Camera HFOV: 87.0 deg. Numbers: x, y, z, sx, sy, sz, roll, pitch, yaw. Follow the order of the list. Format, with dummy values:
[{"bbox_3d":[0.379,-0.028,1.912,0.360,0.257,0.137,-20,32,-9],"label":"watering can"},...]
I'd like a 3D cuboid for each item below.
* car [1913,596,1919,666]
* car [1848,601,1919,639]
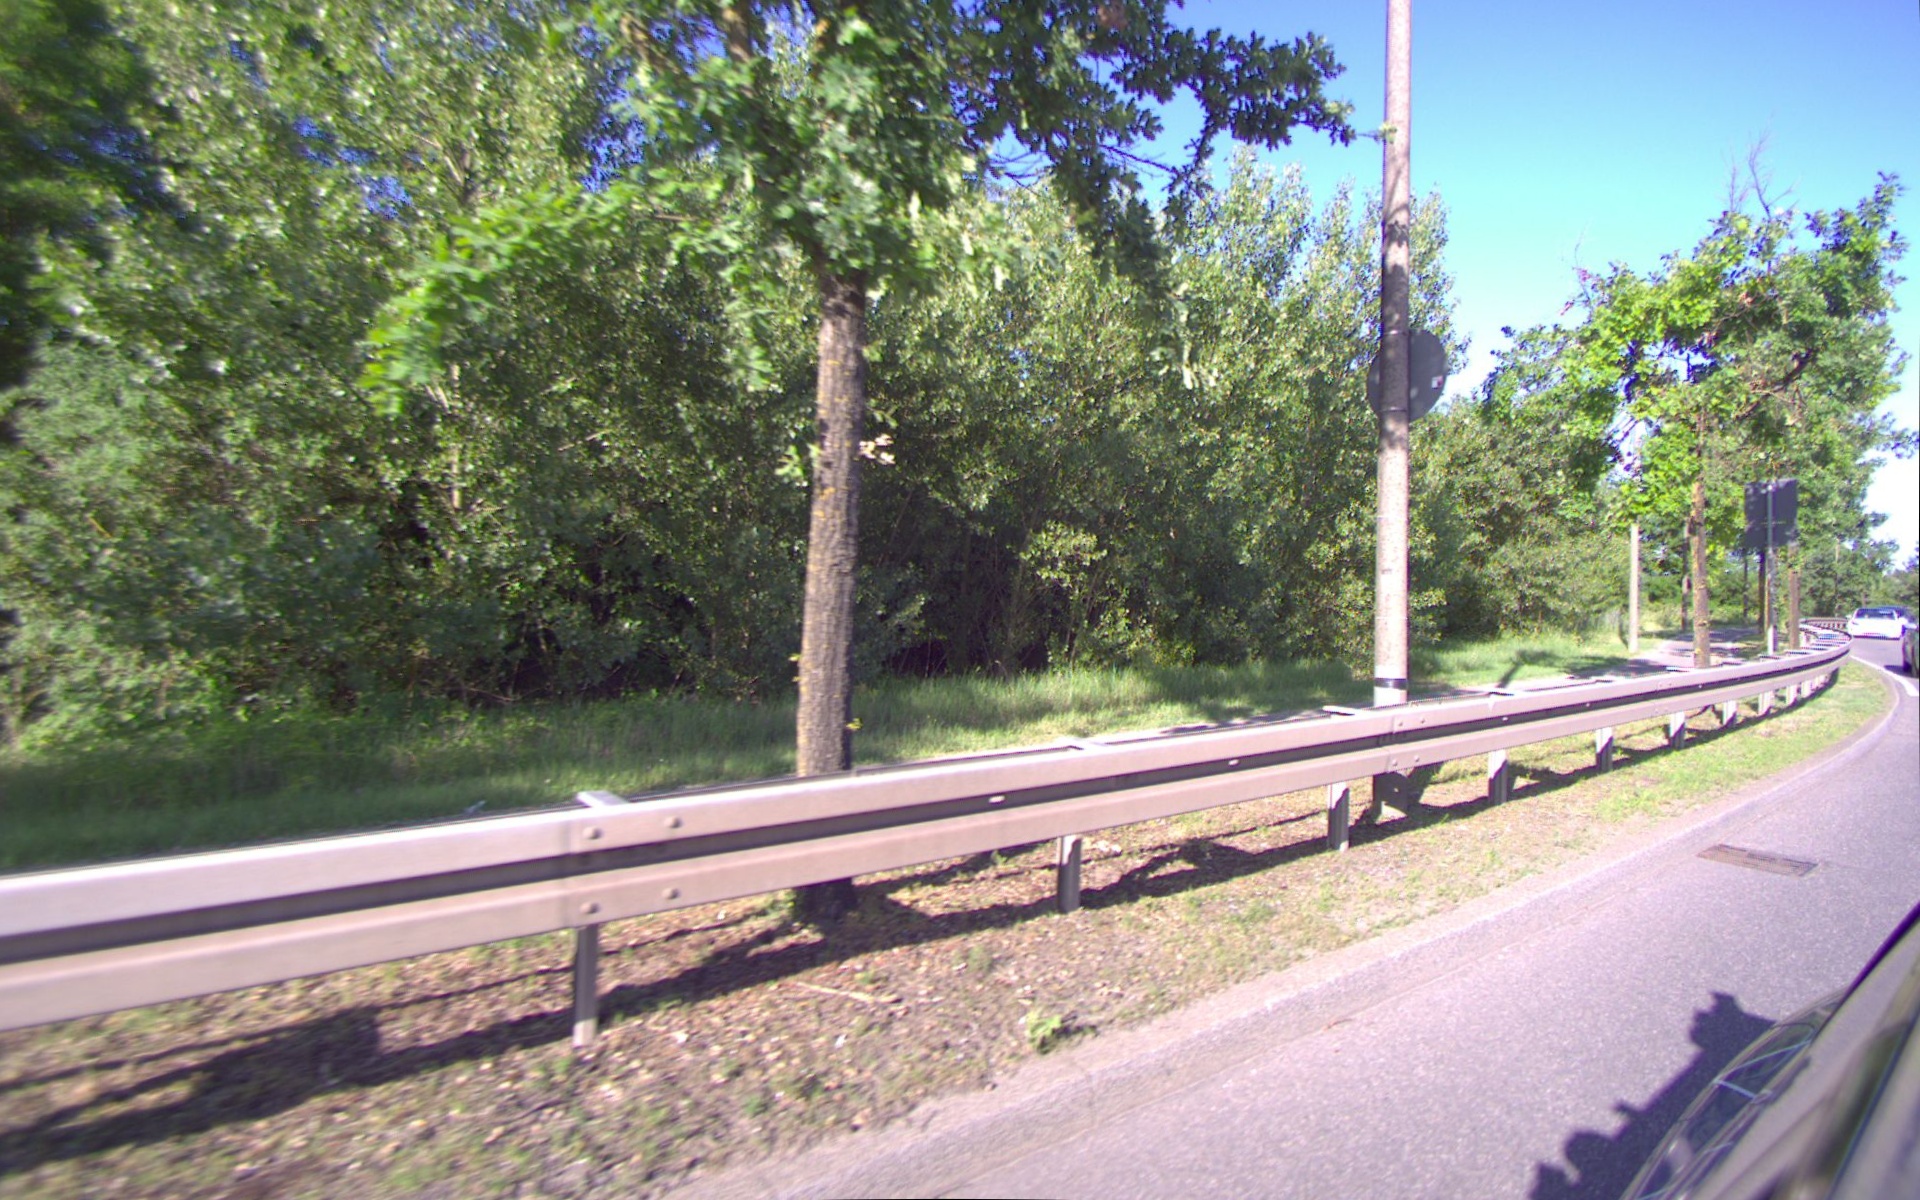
[{"bbox_3d":[20.767,0.672,20.653,1.677,1.459,3.802,2,1,40],"label":"car"},{"bbox_3d":[43.002,0.893,47.182,2.141,1.587,4.139,4,2,39],"label":"car"}]
